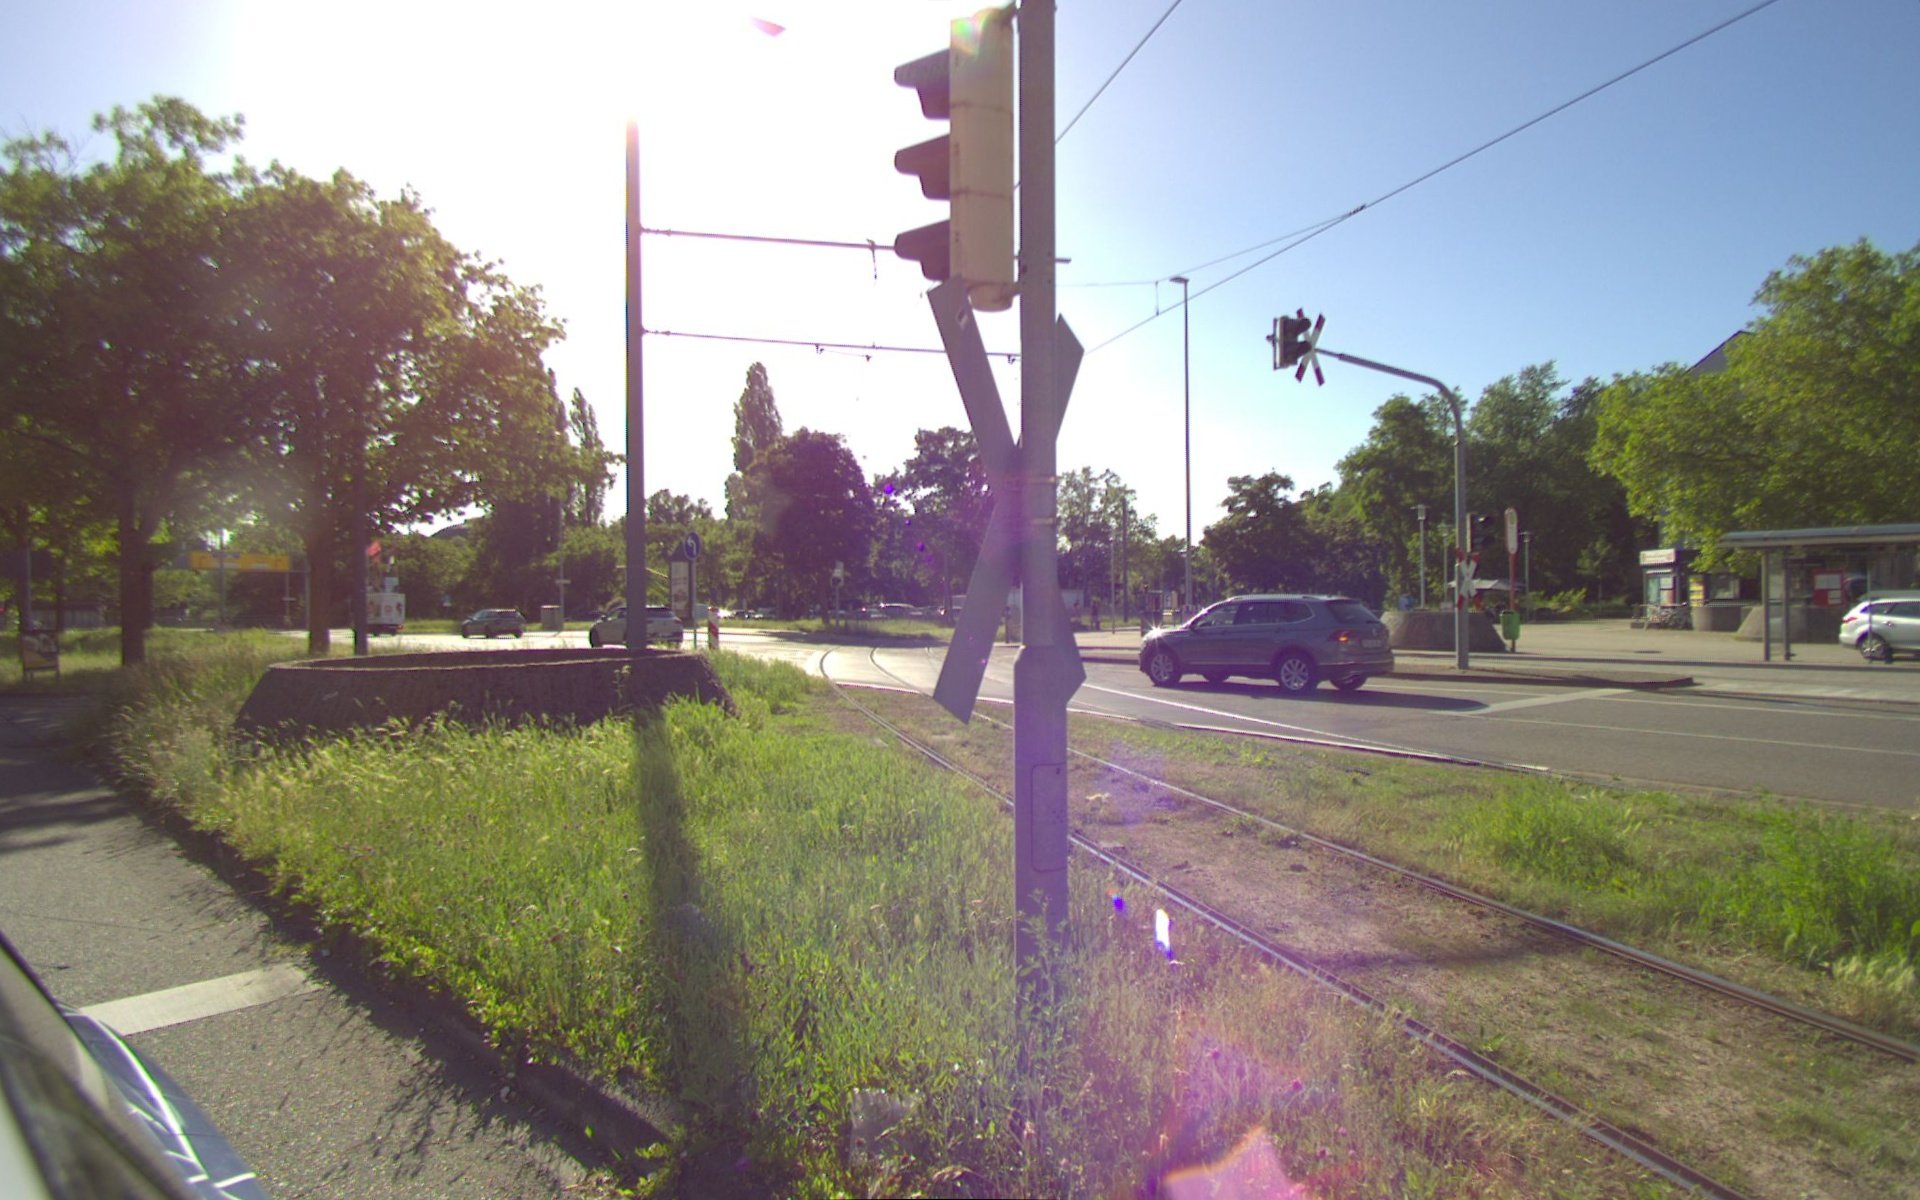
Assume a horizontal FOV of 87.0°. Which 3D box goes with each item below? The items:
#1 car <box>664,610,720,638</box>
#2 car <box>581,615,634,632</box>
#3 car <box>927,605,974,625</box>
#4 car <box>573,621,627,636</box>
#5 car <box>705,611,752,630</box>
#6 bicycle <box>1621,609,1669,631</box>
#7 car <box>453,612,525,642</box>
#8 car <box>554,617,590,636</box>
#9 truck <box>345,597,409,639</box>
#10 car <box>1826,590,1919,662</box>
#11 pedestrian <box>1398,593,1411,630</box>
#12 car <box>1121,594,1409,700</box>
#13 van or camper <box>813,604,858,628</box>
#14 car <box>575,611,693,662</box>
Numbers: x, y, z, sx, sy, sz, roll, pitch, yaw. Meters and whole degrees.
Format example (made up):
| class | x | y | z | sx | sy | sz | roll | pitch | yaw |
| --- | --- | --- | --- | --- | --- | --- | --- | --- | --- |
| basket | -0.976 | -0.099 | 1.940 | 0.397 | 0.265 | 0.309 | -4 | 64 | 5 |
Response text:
| class | x | y | z | sx | sy | sz | roll | pitch | yaw |
| --- | --- | --- | --- | --- | --- | --- | --- | --- | --- |
| car | -20.222 | 1.786 | 76.535 | 2.215 | 2.029 | 4.984 | -1 | 0 | 10 |
| car | -34.196 | 2.247 | 98.210 | 4.501 | 1.475 | 1.996 | -1 | 1 | 6 |
| car | -0.871 | 1.349 | 90.954 | 3.923 | 1.732 | 1.874 | -1 | 0 | 12 |
| car | -27.848 | 2.215 | 78.252 | 3.983 | 1.137 | 1.804 | -1 | -1 | 30 |
| car | -17.208 | 1.515 | 75.419 | 1.978 | 1.292 | 3.988 | -1 | 0 | 10 |
| bicycle | 26.923 | 0.778 | 39.807 | 0.539 | 0.845 | 1.688 | -1 | 0 | -7 |
| car | -24.337 | 1.369 | 52.212 | 4.398 | 1.459 | 1.646 | -1 | 0 | 39 |
| car | -31.239 | 2.091 | 81.410 | 1.792 | 1.459 | 4.010 | -1 | -1 | -35 |
| truck | -35.085 | 1.104 | 60.916 | 4.101 | 2.445 | 1.772 | -1 | 0 | 35 |
| car | 22.652 | 0.574 | 22.793 | 1.842 | 1.555 | 4.559 | -4 | 0 | -11 |
| pedestrian | 22.513 | 0.569 | 51.302 | 0.556 | 1.843 | 0.722 | -1 | 0 | 22 |
| car | 5.243 | 0.759 | 17.993 | 1.731 | 1.626 | 4.731 | -1 | -1 | -40 |
| van or camper | -11.185 | 1.437 | 90.550 | 1.968 | 2.112 | 4.410 | -1 | -1 | -38 |
| car | -11.139 | 1.198 | 34.470 | 4.387 | 1.574 | 1.971 | -1 | 0 | 44 |
